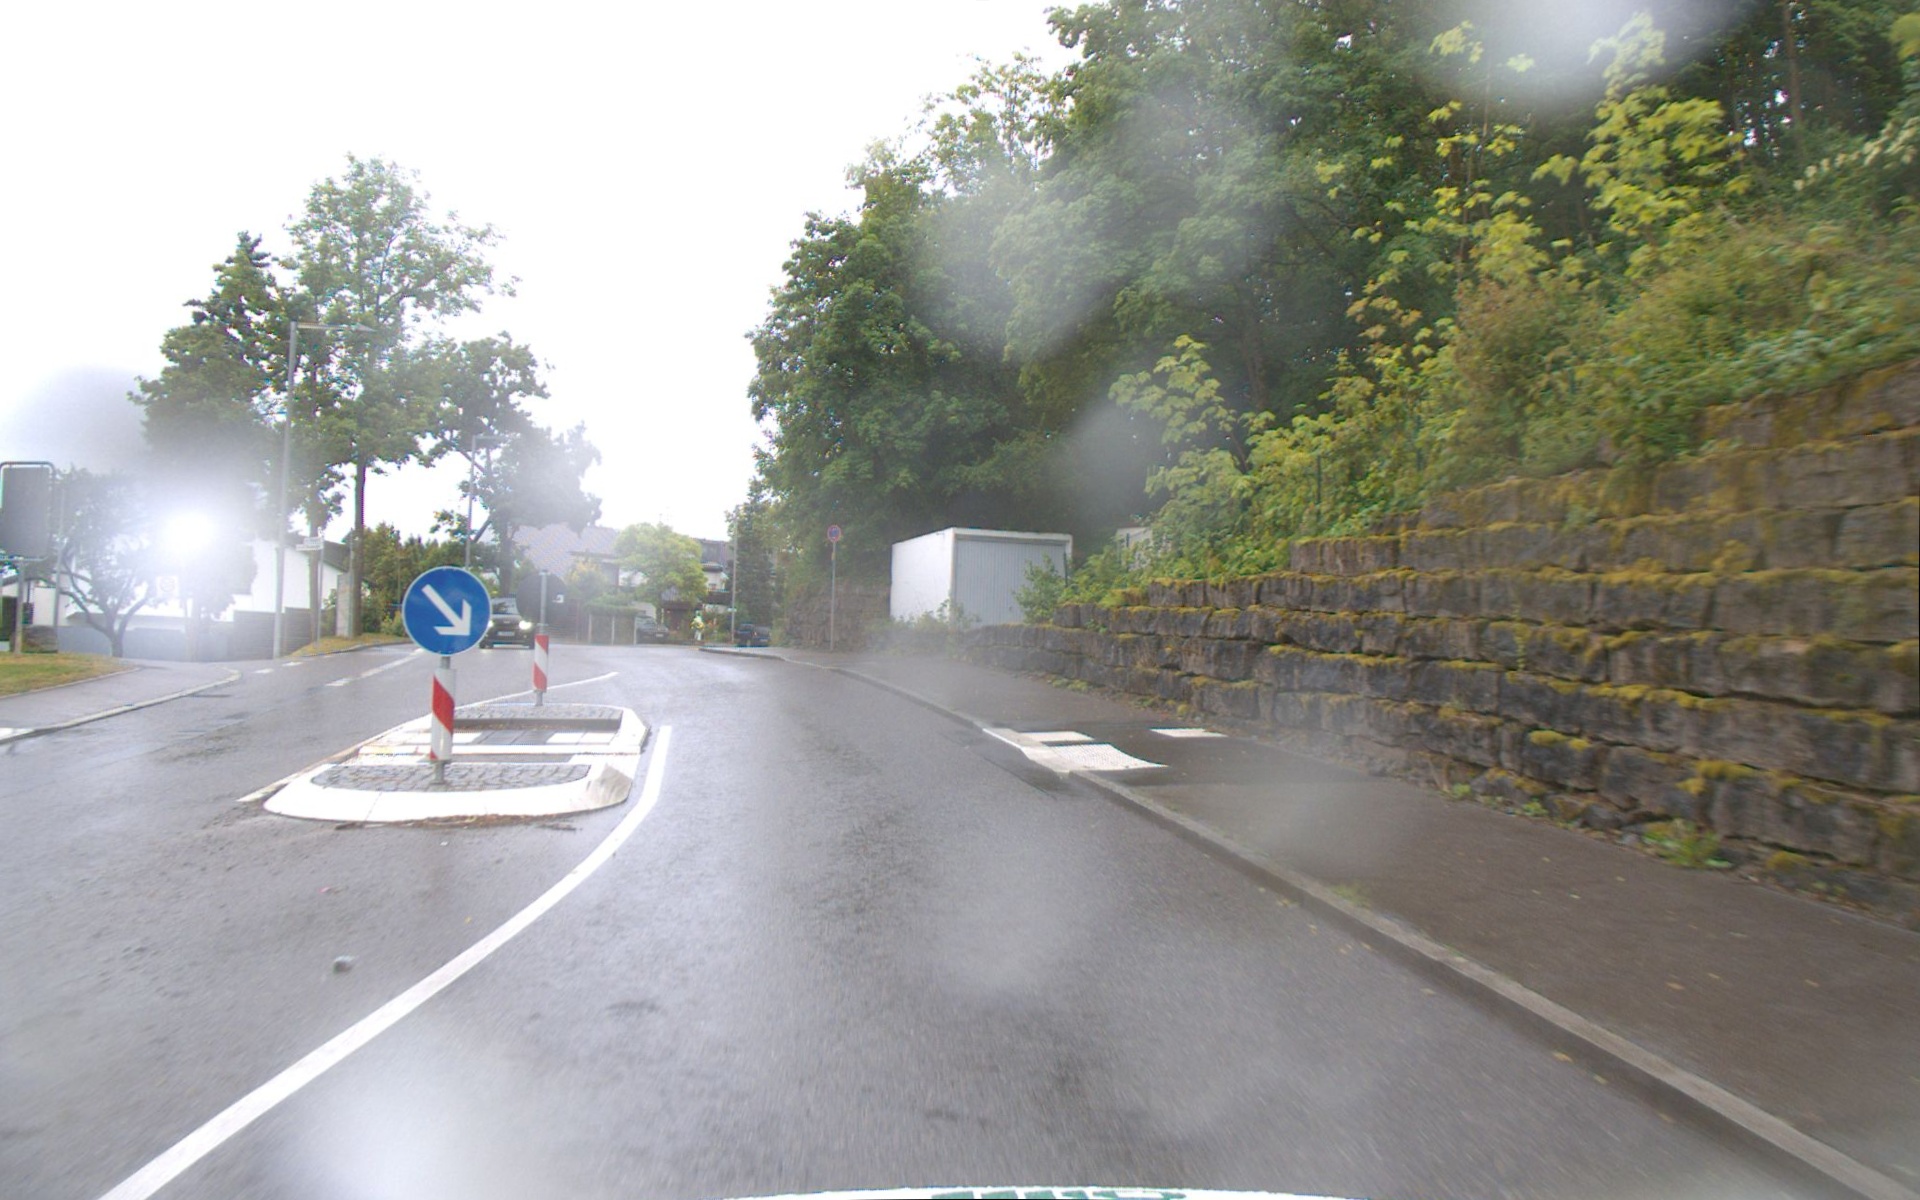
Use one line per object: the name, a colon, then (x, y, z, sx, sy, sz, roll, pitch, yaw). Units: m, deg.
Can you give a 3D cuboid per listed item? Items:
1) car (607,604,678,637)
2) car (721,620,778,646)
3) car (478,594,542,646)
car: (-18.208, 1.181, 94.663, 3.931, 1.660, 2.001, 2, -2, 43)
car: (-13.150, 2.067, 103.275, 1.917, 1.413, 3.954, 5, -3, -33)
car: (-14.003, 0.621, 51.660, 1.801, 1.547, 4.610, 0, 0, -14)
